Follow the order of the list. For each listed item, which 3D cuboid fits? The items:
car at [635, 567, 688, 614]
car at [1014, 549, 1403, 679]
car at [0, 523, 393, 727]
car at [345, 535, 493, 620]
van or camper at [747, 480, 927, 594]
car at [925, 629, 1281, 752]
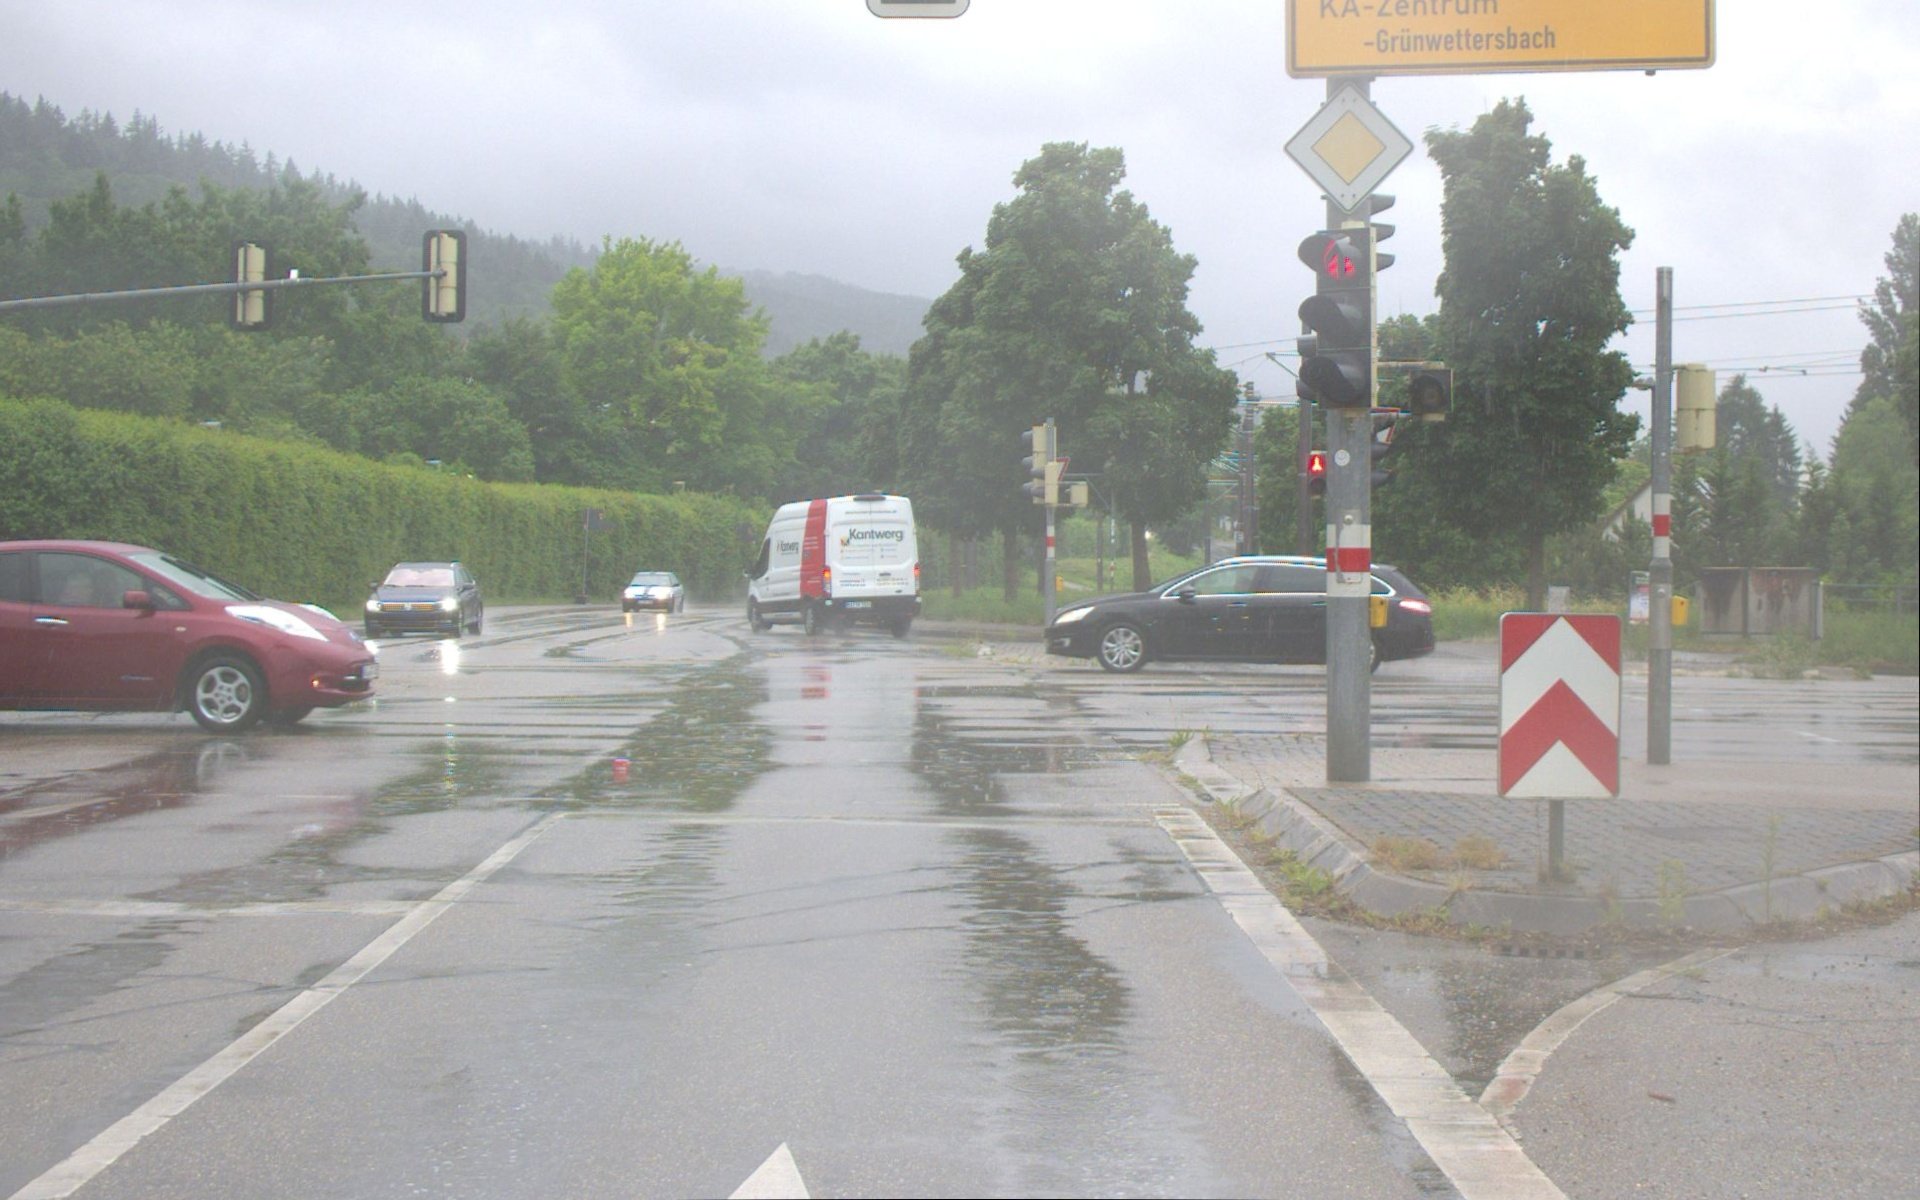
[{"bbox_3d":[-9.996,-0.329,115.335,1.558,1.476,3.361,1,1,-1],"label":"car"},{"bbox_3d":[3.025,0.159,42.278,4.670,1.548,1.822,0,1,3],"label":"car"},{"bbox_3d":[-6.987,0.169,28.008,4.376,1.574,1.732,1,1,5],"label":"car"},{"bbox_3d":[-10.577,-0.459,67.503,1.879,1.568,4.644,-2,1,3],"label":"car"},{"bbox_3d":[-2.473,-1.260,67.934,2.153,2.161,4.866,0,1,-20],"label":"van or camper"},{"bbox_3d":[1.916,1.196,45.983,4.670,1.548,1.822,0,1,3],"label":"car"}]
